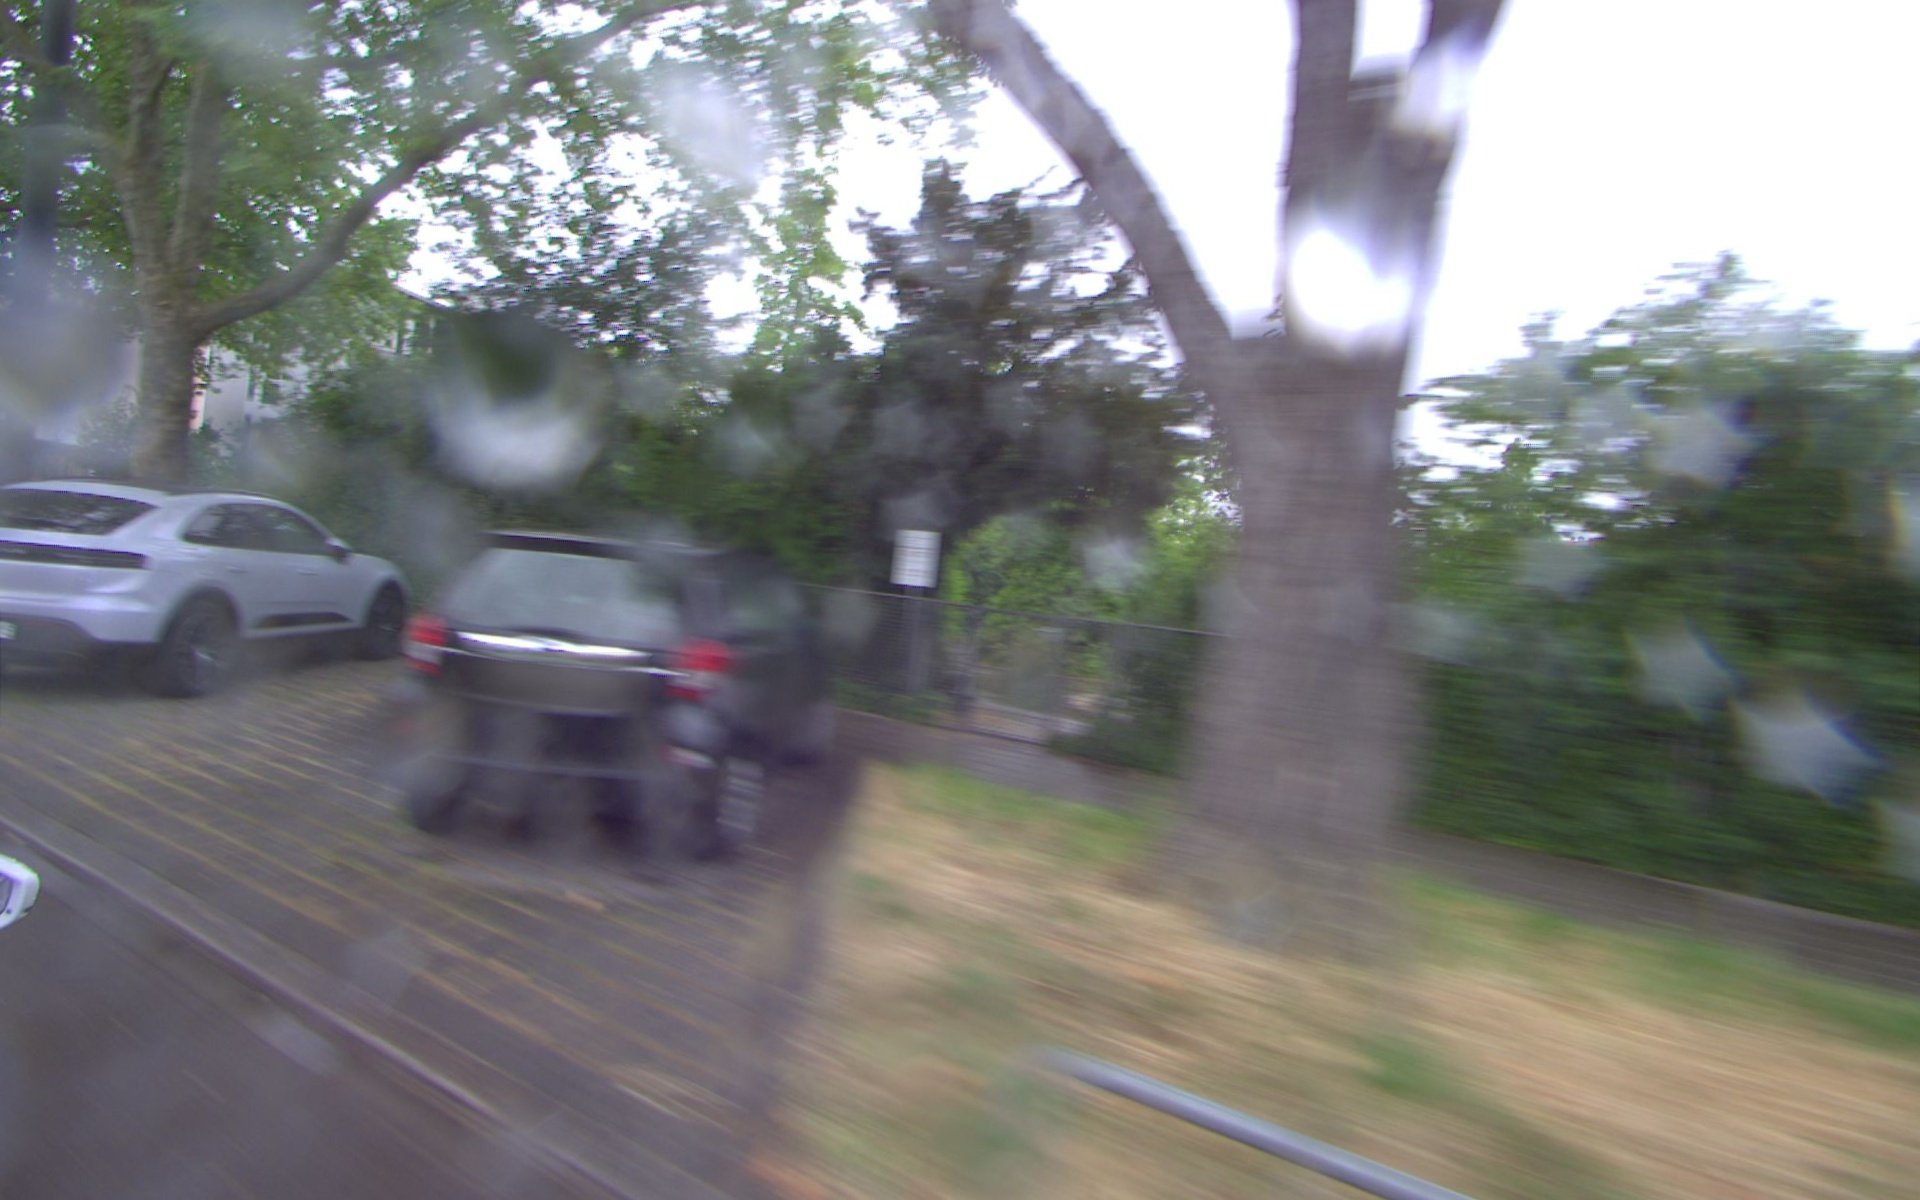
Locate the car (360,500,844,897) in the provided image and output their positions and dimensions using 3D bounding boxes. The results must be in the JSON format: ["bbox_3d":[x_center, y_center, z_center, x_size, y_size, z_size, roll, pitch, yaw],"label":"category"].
[{"bbox_3d":[-1.800,0.427,6.302,1.589,1.586,3.712,6,1,-1],"label":"car"}]

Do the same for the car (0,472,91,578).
[{"bbox_3d":[-15.852,-1.275,15.145,1.589,1.587,3.865,7,1,18],"label":"car"}]

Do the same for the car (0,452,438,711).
[{"bbox_3d":[-6.928,-0.225,9.219,1.959,1.689,4.770,6,1,-4],"label":"car"}]
